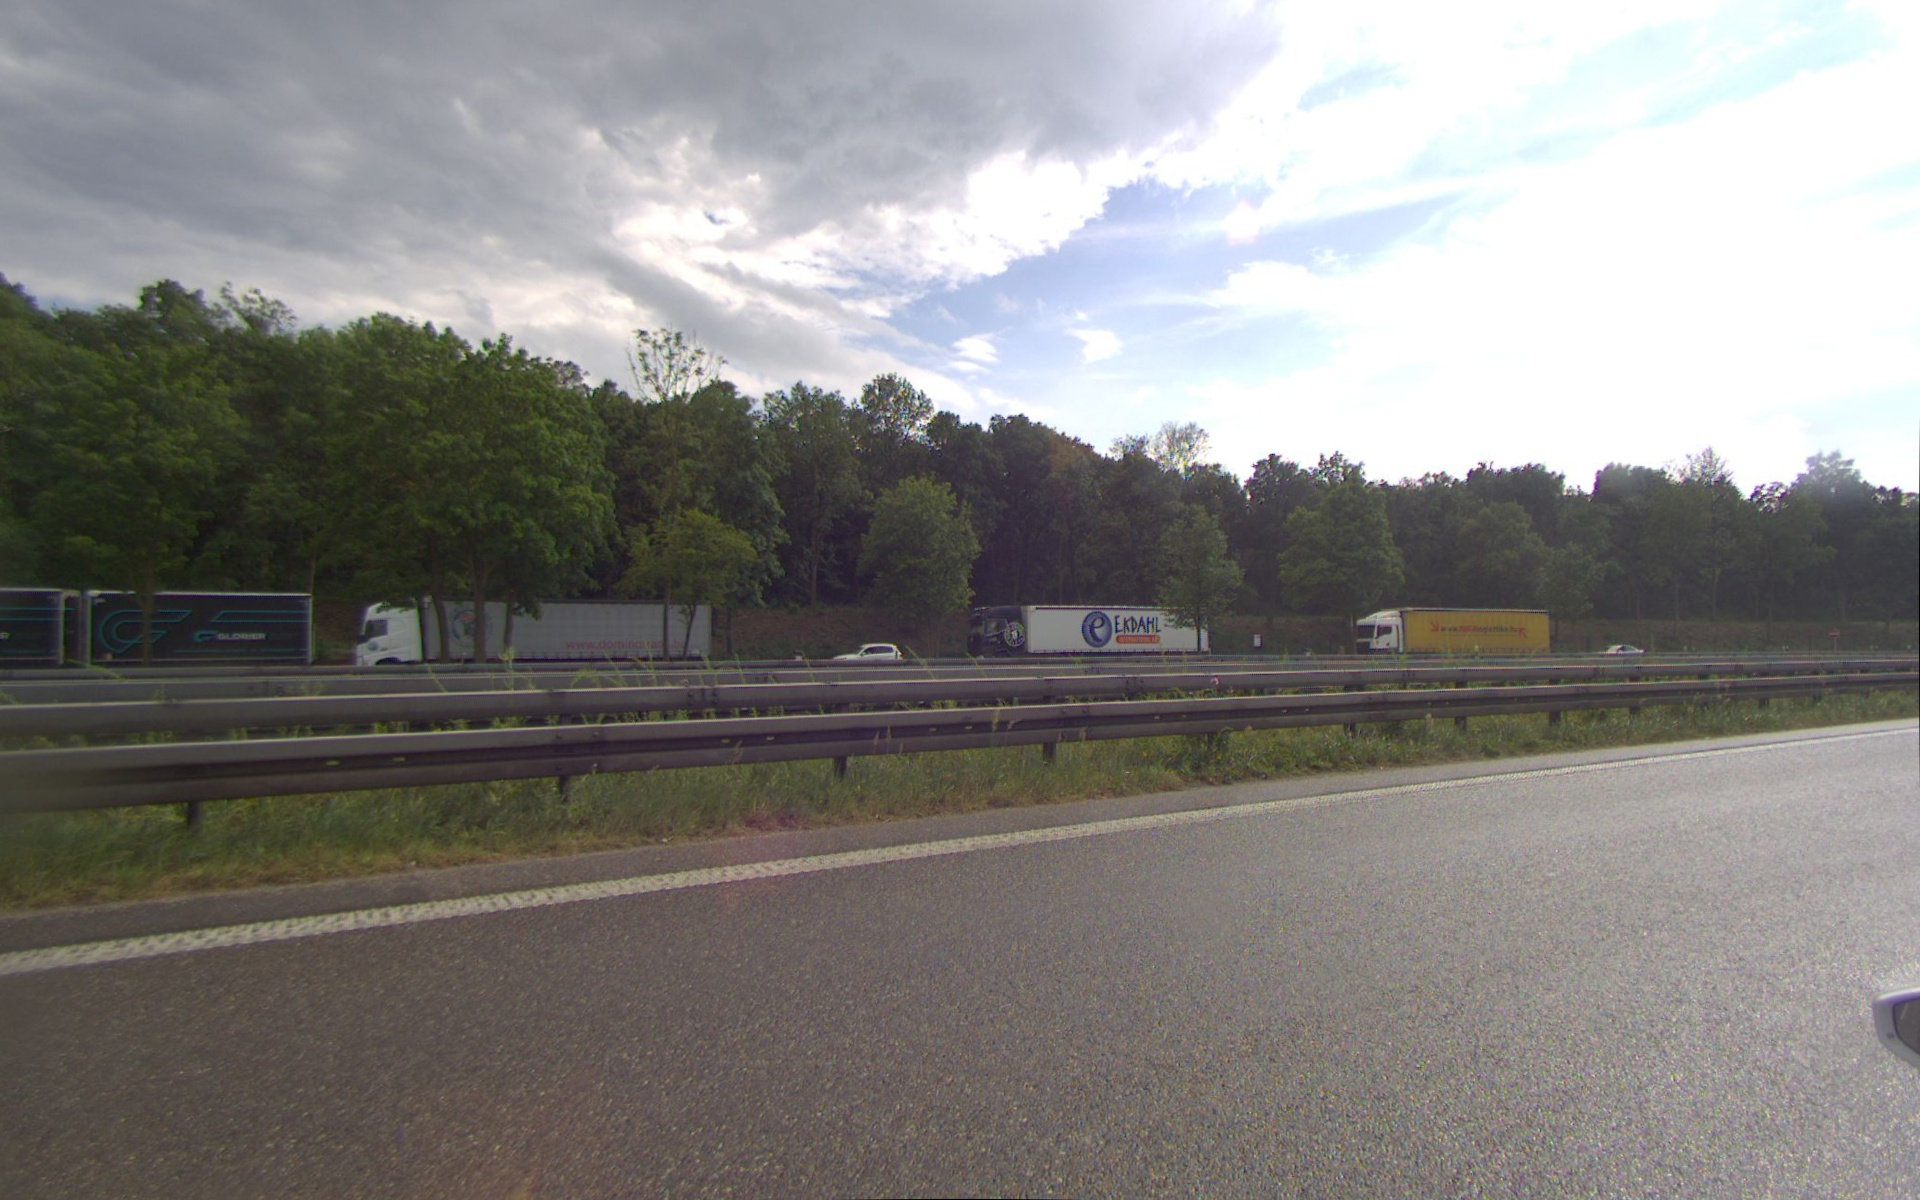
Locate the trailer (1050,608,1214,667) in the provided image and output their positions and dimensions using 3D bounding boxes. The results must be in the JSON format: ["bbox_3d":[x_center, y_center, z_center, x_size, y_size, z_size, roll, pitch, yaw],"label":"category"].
[{"bbox_3d":[11.413,2.482,66.530,10.349,3.697,3.780,1,-1,-24],"label":"trailer"}]

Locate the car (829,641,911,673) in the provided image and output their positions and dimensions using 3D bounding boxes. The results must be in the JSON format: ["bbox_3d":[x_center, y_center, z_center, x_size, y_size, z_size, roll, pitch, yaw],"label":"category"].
[{"bbox_3d":[-5.249,3.324,58.883,4.313,1.741,2.050,2,0,-28],"label":"car"}]

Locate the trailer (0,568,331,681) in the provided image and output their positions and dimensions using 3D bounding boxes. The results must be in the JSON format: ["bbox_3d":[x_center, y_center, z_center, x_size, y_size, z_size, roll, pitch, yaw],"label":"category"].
[{"bbox_3d":[-35.408,1.080,43.445,13.638,4.464,3.771,1,-2,-30],"label":"trailer"}]

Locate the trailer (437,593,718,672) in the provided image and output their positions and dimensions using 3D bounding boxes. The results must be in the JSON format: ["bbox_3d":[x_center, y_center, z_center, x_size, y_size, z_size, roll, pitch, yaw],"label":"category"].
[{"bbox_3d":[-19.560,1.686,52.034,13.187,3.697,3.771,1,-2,-30],"label":"trailer"}]

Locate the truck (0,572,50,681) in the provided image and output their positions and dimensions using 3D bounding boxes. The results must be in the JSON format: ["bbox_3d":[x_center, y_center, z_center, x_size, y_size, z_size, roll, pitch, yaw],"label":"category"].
[{"bbox_3d":[-41.937,0.929,39.548,8.319,4.290,3.769,2,0,-30],"label":"truck"}]

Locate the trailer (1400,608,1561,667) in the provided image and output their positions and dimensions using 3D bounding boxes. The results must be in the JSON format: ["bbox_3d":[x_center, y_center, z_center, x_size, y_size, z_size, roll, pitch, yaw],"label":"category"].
[{"bbox_3d":[39.674,2.849,76.595,11.538,4.171,3.786,2,0,-17],"label":"trailer"}]

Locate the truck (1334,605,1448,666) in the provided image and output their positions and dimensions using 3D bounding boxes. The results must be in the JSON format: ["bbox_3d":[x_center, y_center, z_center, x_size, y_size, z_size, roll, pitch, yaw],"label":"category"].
[{"bbox_3d":[31.757,2.596,74.124,6.933,4.171,3.786,2,0,-17],"label":"truck"}]

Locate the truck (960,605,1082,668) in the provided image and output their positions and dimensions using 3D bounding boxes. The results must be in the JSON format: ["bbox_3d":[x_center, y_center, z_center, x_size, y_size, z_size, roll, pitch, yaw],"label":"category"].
[{"bbox_3d":[3.785,2.280,63.030,6.615,3.709,3.776,2,0,-25],"label":"truck"}]

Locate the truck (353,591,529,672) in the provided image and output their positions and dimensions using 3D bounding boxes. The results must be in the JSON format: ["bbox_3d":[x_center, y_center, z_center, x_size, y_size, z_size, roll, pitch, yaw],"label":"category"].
[{"bbox_3d":[-25.109,1.515,48.804,7.269,3.637,3.769,2,0,-30],"label":"truck"}]
